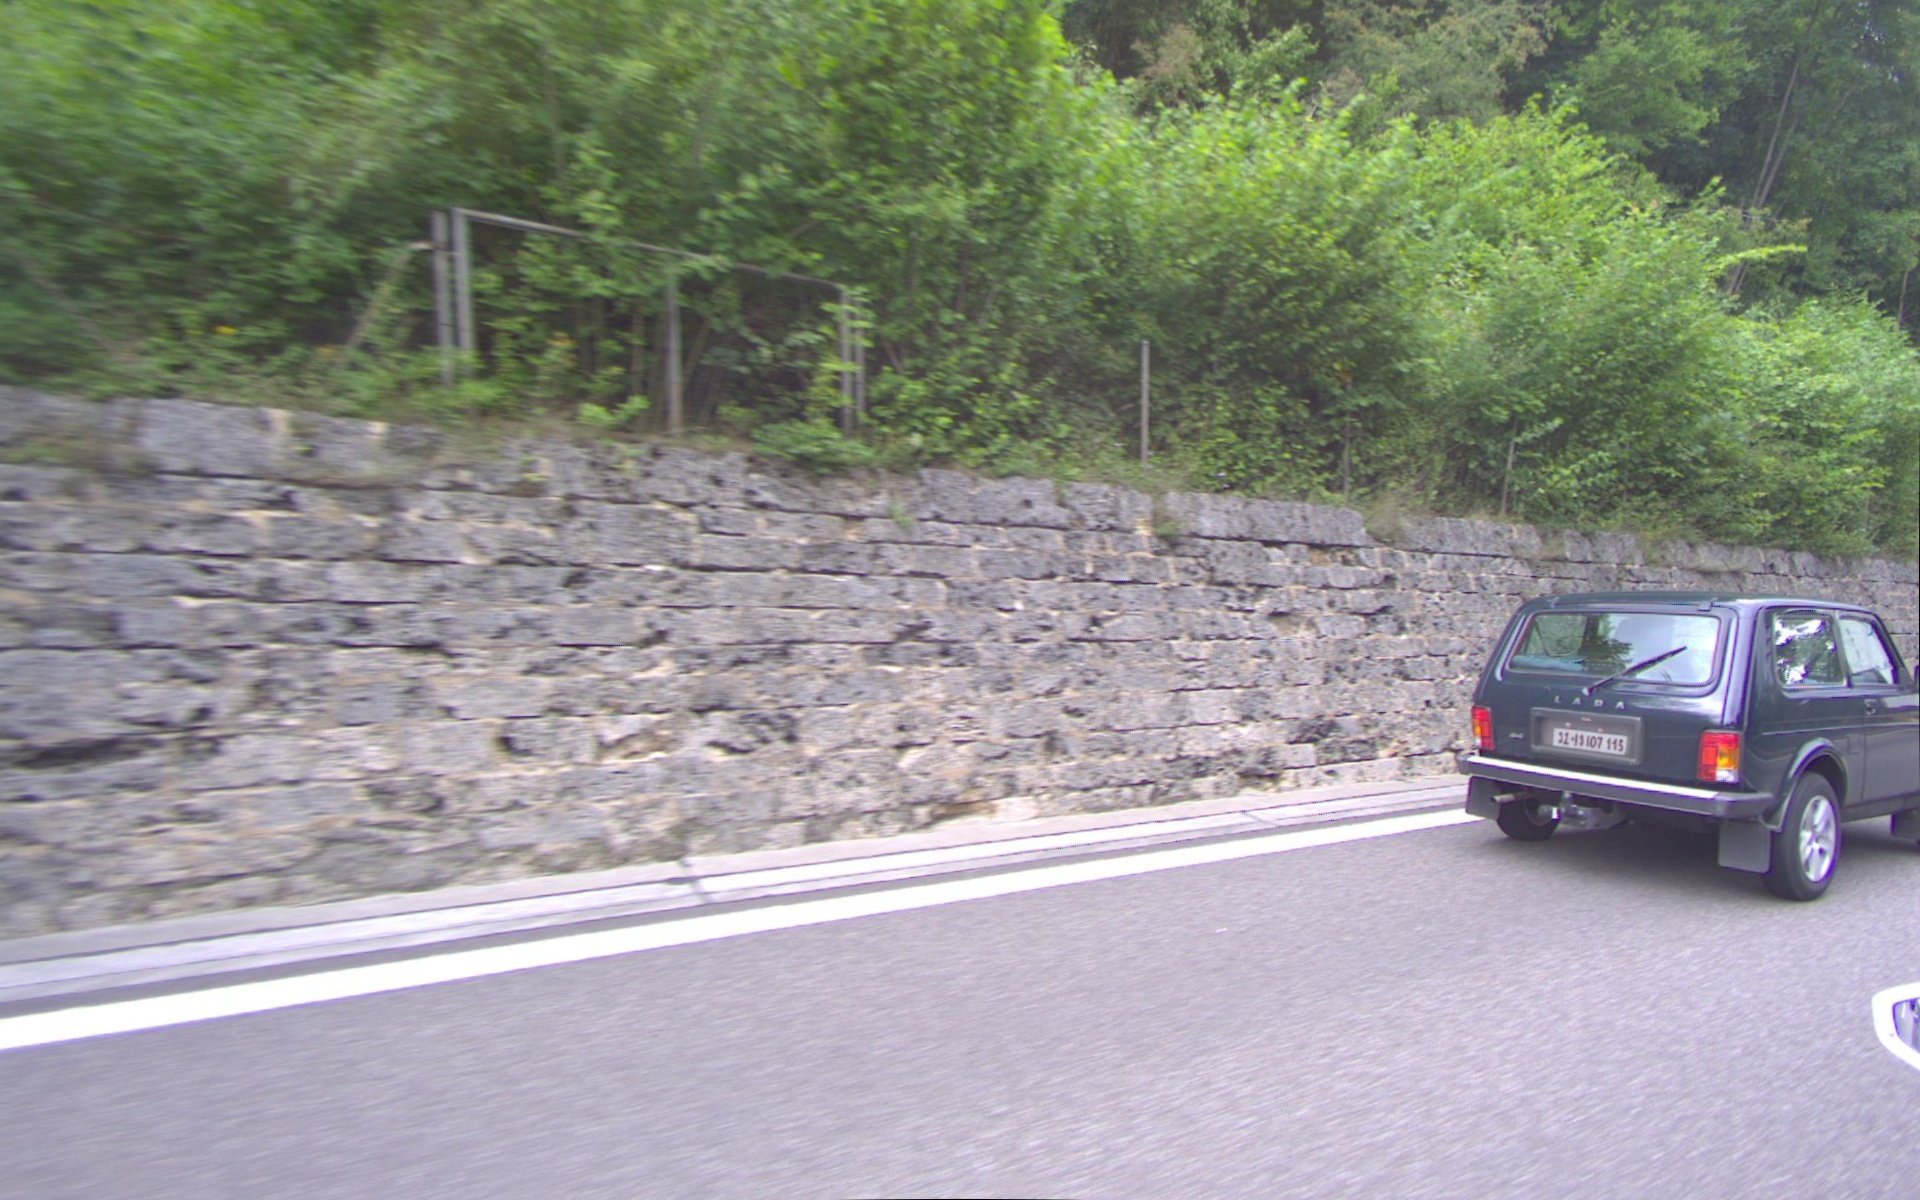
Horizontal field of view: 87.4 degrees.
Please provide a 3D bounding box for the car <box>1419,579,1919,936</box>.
[{"bbox_3d":[4.958,0.770,6.418,4.020,1.660,1.661,1,0,-30],"label":"car"}]
